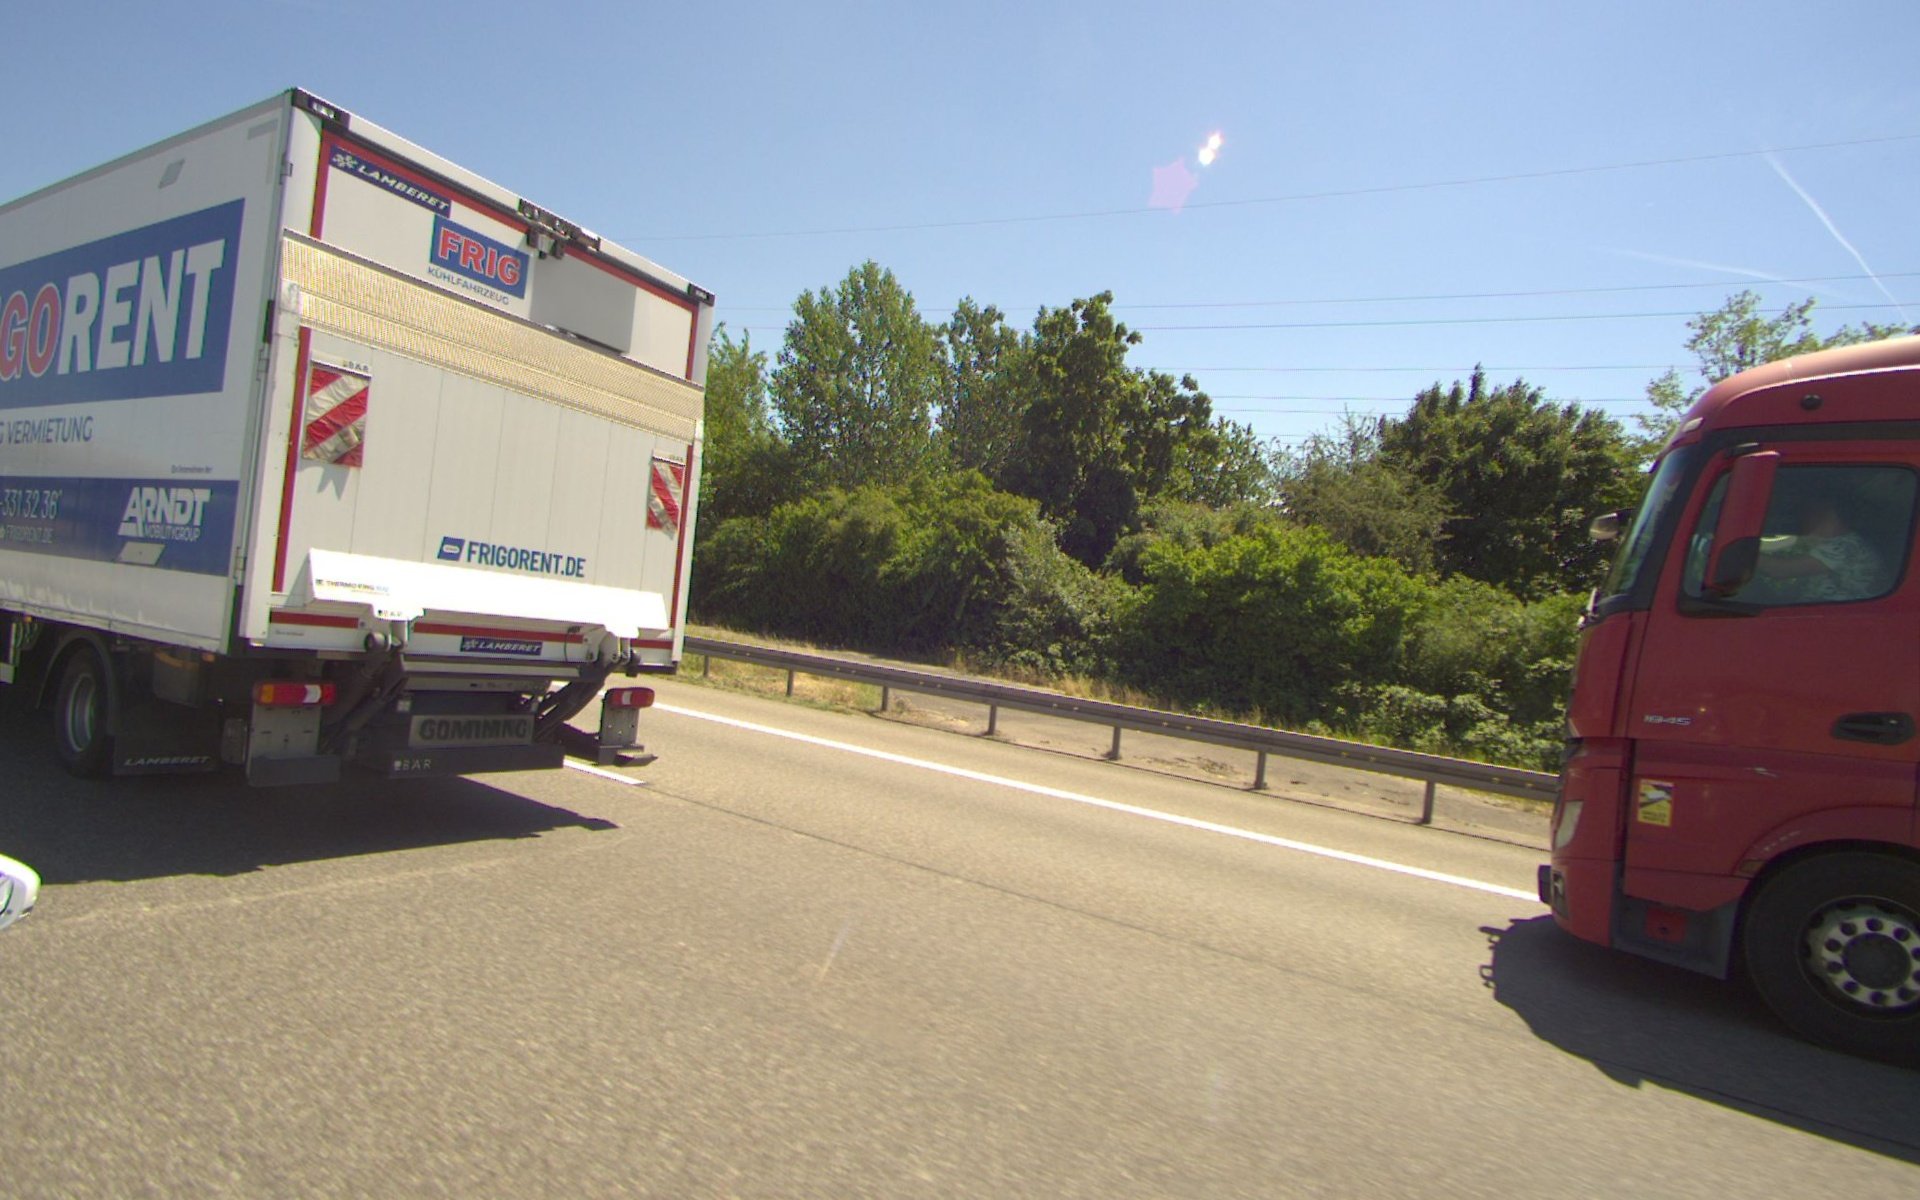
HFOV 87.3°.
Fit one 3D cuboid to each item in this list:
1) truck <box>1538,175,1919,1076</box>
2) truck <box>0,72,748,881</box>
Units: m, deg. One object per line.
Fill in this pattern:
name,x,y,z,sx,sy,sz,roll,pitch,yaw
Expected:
truck,6.453,0.338,5.130,5.628,4.214,2.799,7,-1,32
truck,-5.693,-0.766,7.480,7.991,3.413,2.787,6,-1,31
